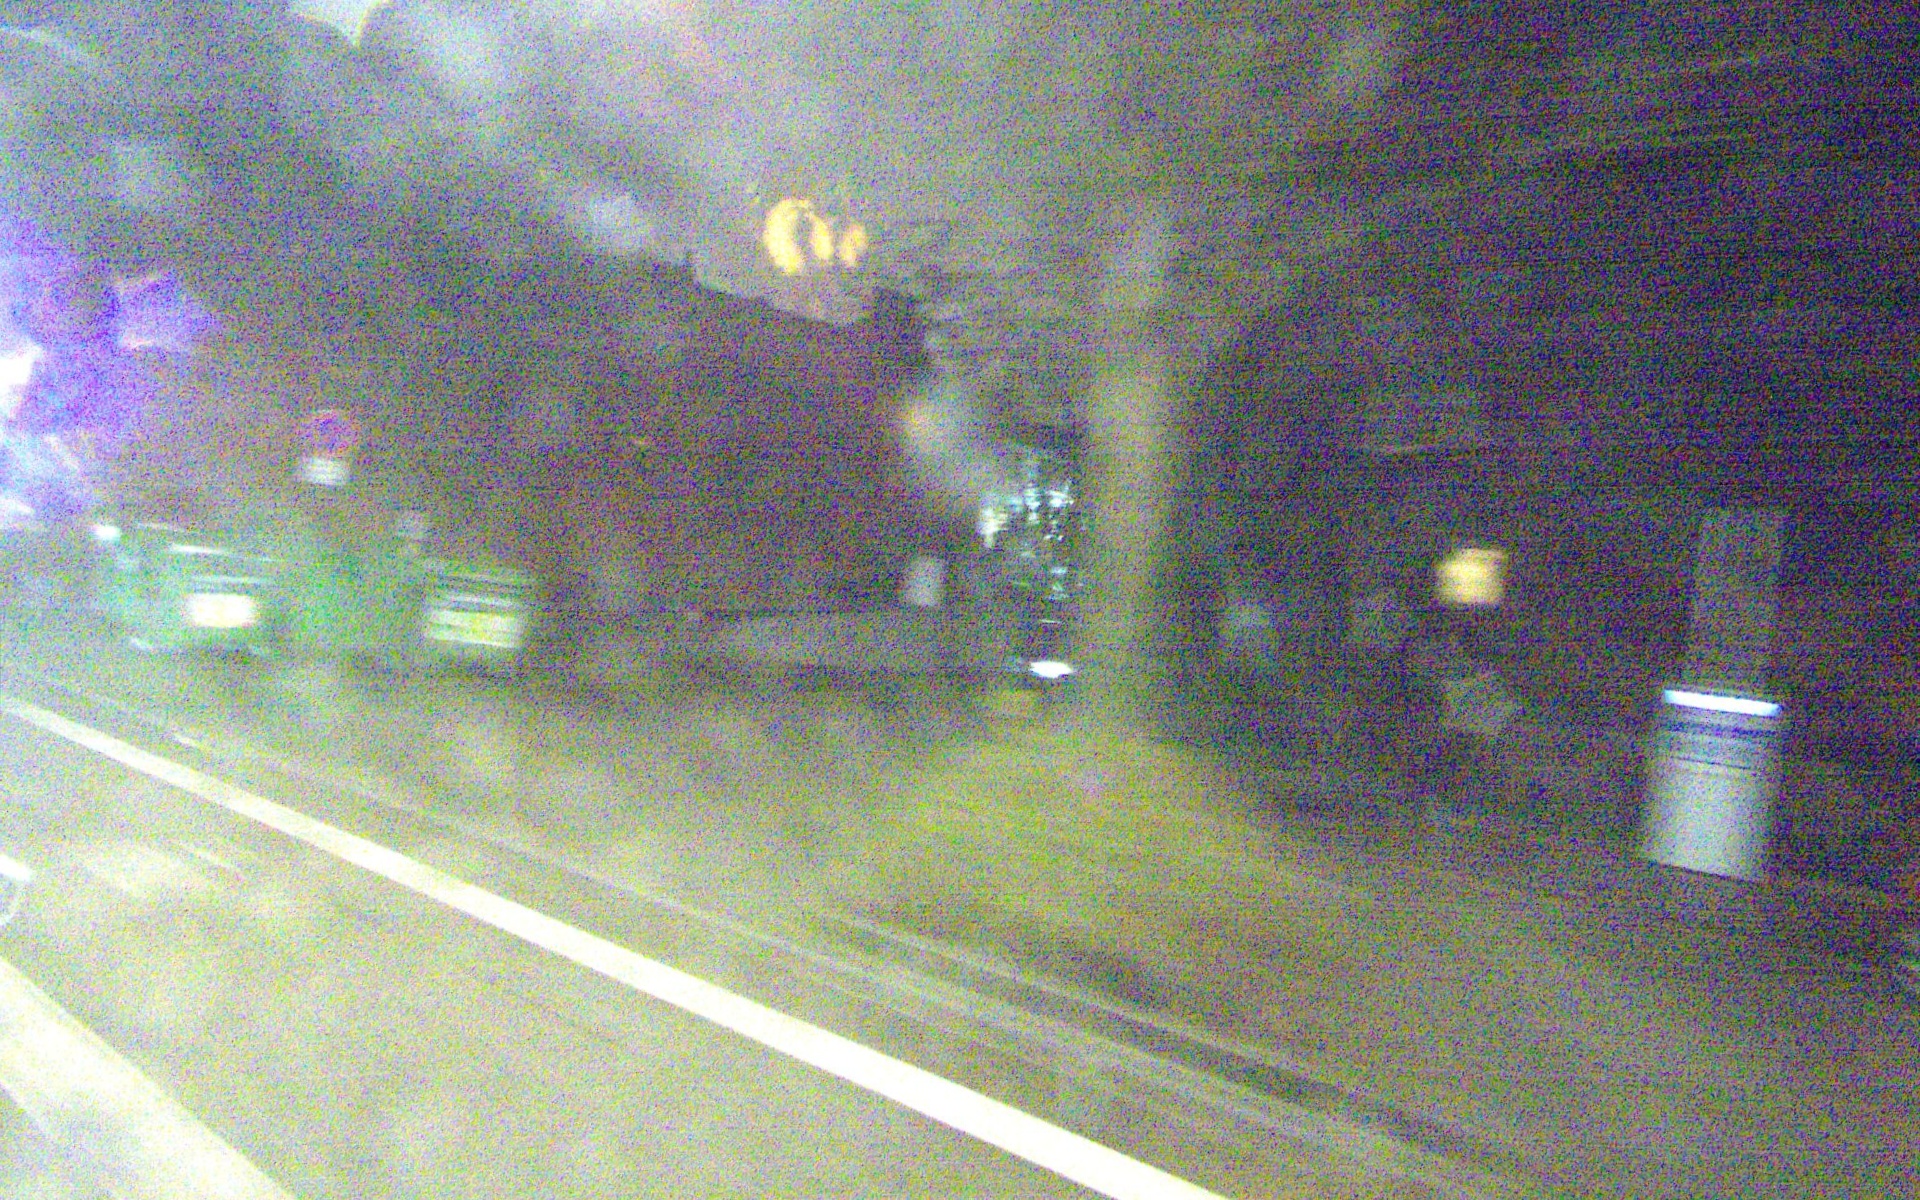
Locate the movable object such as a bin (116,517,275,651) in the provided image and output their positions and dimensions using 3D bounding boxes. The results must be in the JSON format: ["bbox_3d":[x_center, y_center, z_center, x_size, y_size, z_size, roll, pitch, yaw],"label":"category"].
[{"bbox_3d":[-9.191,-0.182,12.111,1.084,1.441,1.207,7,1,37],"label":"movable object such as a bin"}]

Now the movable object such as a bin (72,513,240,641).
[{"bbox_3d":[-10.135,-0.278,12.705,1.056,1.440,1.367,7,1,37],"label":"movable object such as a bin"}]

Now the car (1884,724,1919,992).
[{"bbox_3d":[6.086,1.567,4.125,1.627,1.537,3.706,7,0,13],"label":"car"}]

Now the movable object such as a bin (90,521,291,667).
[{"bbox_3d":[-8.467,-0.052,11.117,1.139,1.426,1.324,6,1,26],"label":"movable object such as a bin"}]

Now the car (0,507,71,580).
[{"bbox_3d":[-22.654,-1.440,22.272,1.923,1.555,4.109,7,-1,6],"label":"car"}]
